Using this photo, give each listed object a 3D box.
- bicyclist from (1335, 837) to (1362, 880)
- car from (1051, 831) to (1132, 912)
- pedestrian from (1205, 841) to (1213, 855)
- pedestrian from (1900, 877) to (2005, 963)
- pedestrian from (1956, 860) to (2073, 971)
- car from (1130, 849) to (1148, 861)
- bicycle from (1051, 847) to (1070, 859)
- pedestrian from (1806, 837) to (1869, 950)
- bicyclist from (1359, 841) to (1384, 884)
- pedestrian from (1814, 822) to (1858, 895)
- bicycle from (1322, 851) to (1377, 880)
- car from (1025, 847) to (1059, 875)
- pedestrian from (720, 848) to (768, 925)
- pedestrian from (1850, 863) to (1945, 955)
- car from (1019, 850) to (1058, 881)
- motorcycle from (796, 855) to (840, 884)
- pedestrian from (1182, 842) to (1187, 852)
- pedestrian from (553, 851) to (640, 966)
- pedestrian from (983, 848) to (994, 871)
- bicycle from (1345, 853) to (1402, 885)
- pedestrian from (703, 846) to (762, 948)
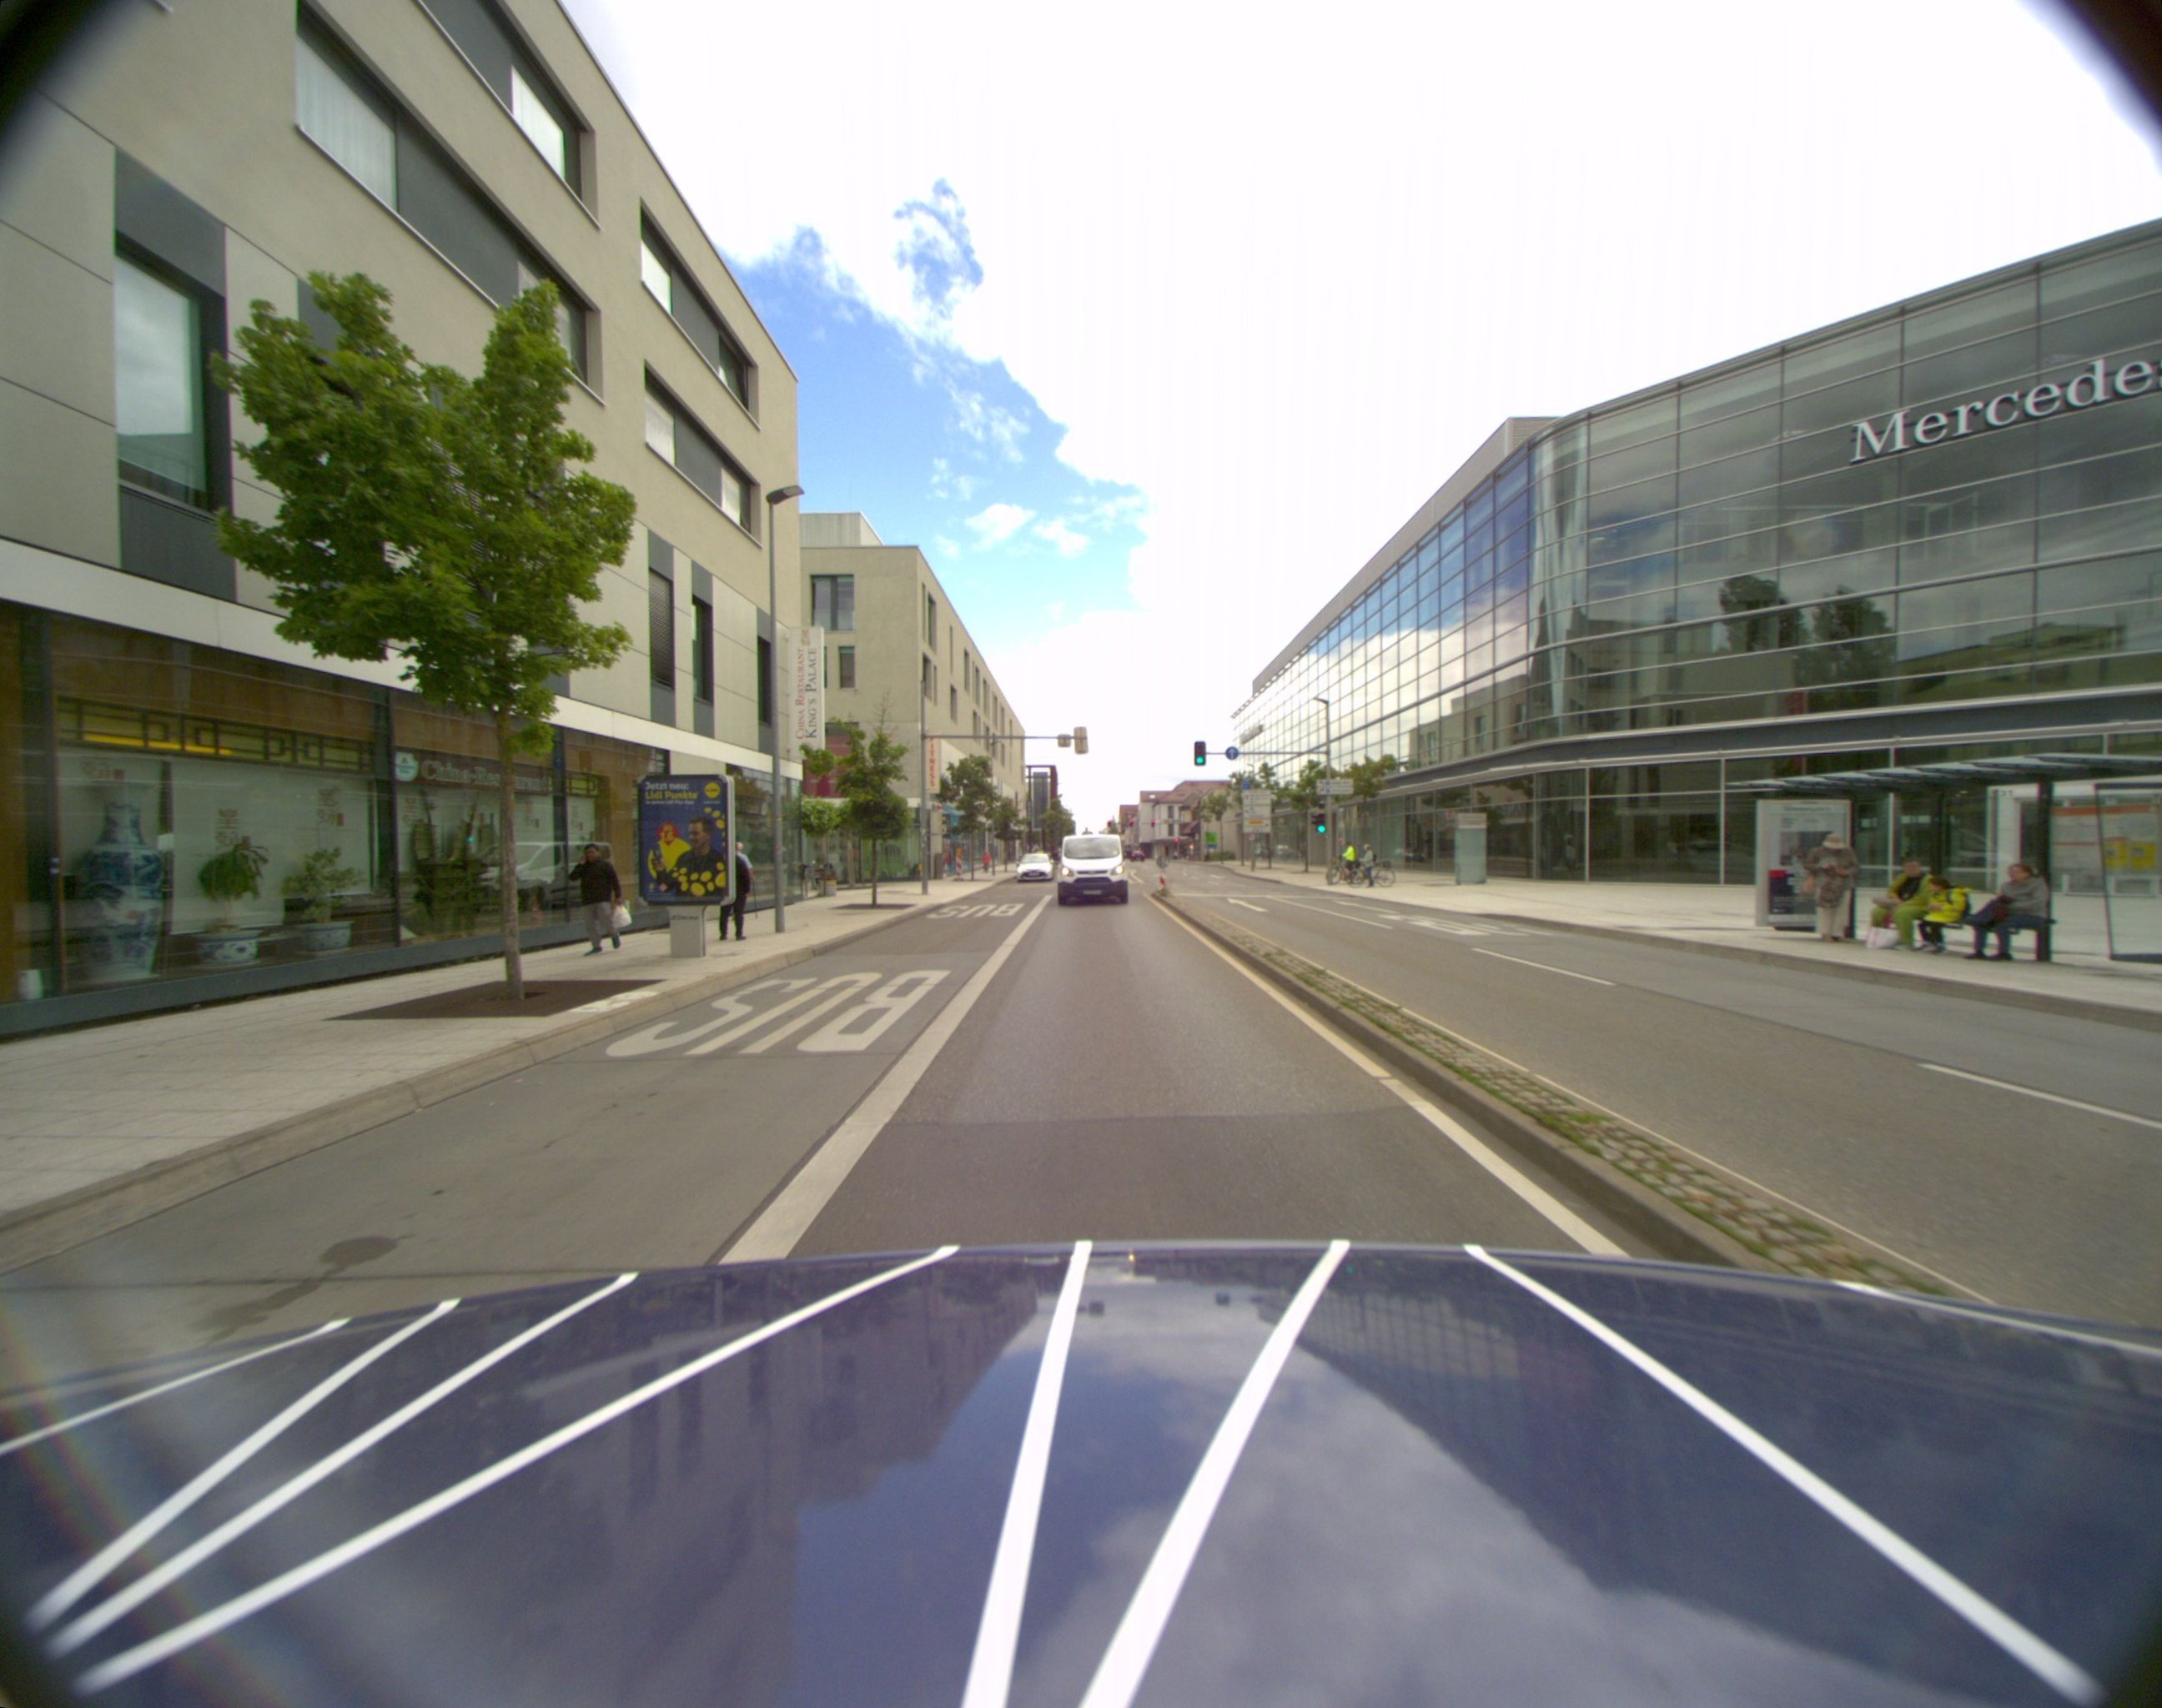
[{"bbox_3d":[11.429,0.198,32.462,0.772,1.790,0.749,-2,2,45],"label":"bicyclist"},{"bbox_3d":[0.304,0.404,21.990,2.000,1.976,4.999,-3,1,1],"label":"car"},{"bbox_3d":[14.753,-0.733,87.536,0.702,1.614,0.693,-1,1,1],"label":"pedestrian"},{"bbox_3d":[11.530,0.859,10.073,0.686,1.069,0.576,1,2,-1],"label":"pedestrian"},{"bbox_3d":[11.521,0.739,9.399,0.686,1.313,0.576,1,2,-1],"label":"pedestrian"},{"bbox_3d":[7.840,0.129,103.382,1.803,1.458,3.998,-1,1,-4],"label":"car"},{"bbox_3d":[-1.933,-0.088,71.426,1.745,1.094,0.561,1,1,-7],"label":"bicycle"},{"bbox_3d":[11.252,0.556,11.302,0.688,1.622,0.574,-1,2,-40],"label":"pedestrian"},{"bbox_3d":[11.266,0.326,29.516,0.783,1.639,0.639,-3,2,16],"label":"bicyclist"},{"bbox_3d":[20.692,0.122,20.830,0.904,1.934,0.748,-3,2,-38],"label":"pedestrian"},{"bbox_3d":[11.450,0.501,32.474,2.025,1.199,0.749,-2,2,45],"label":"bicycle"},{"bbox_3d":[-2.355,0.392,46.651,1.741,1.533,4.789,-3,1,1],"label":"car"},{"bbox_3d":[-7.505,0.714,16.954,0.746,1.659,0.614,-1,1,1],"label":"pedestrian"},{"bbox_3d":[11.455,0.757,10.674,0.686,1.246,0.576,0,2,-1],"label":"pedestrian"},{"bbox_3d":[-2.207,0.582,40.192,1.787,1.417,4.513,-2,1,0],"label":"car"},{"bbox_3d":[-12.581,0.749,36.370,1.844,1.251,0.593,-3,4,-1],"label":"motorcycle"},{"bbox_3d":[15.718,-1.079,115.706,0.555,1.507,0.582,-1,2,-32],"label":"pedestrian"},{"bbox_3d":[-6.991,0.764,10.997,0.742,1.599,0.714,-1,1,1],"label":"pedestrian"},{"bbox_3d":[-6.278,0.359,51.641,0.590,1.558,0.732,1,1,1],"label":"pedestrian"},{"bbox_3d":[11.342,0.570,29.510,2.002,1.124,0.639,-3,1,16],"label":"bicycle"},{"bbox_3d":[-5.886,0.710,12.862,0.656,1.659,0.614,-1,1,1],"label":"pedestrian"}]
